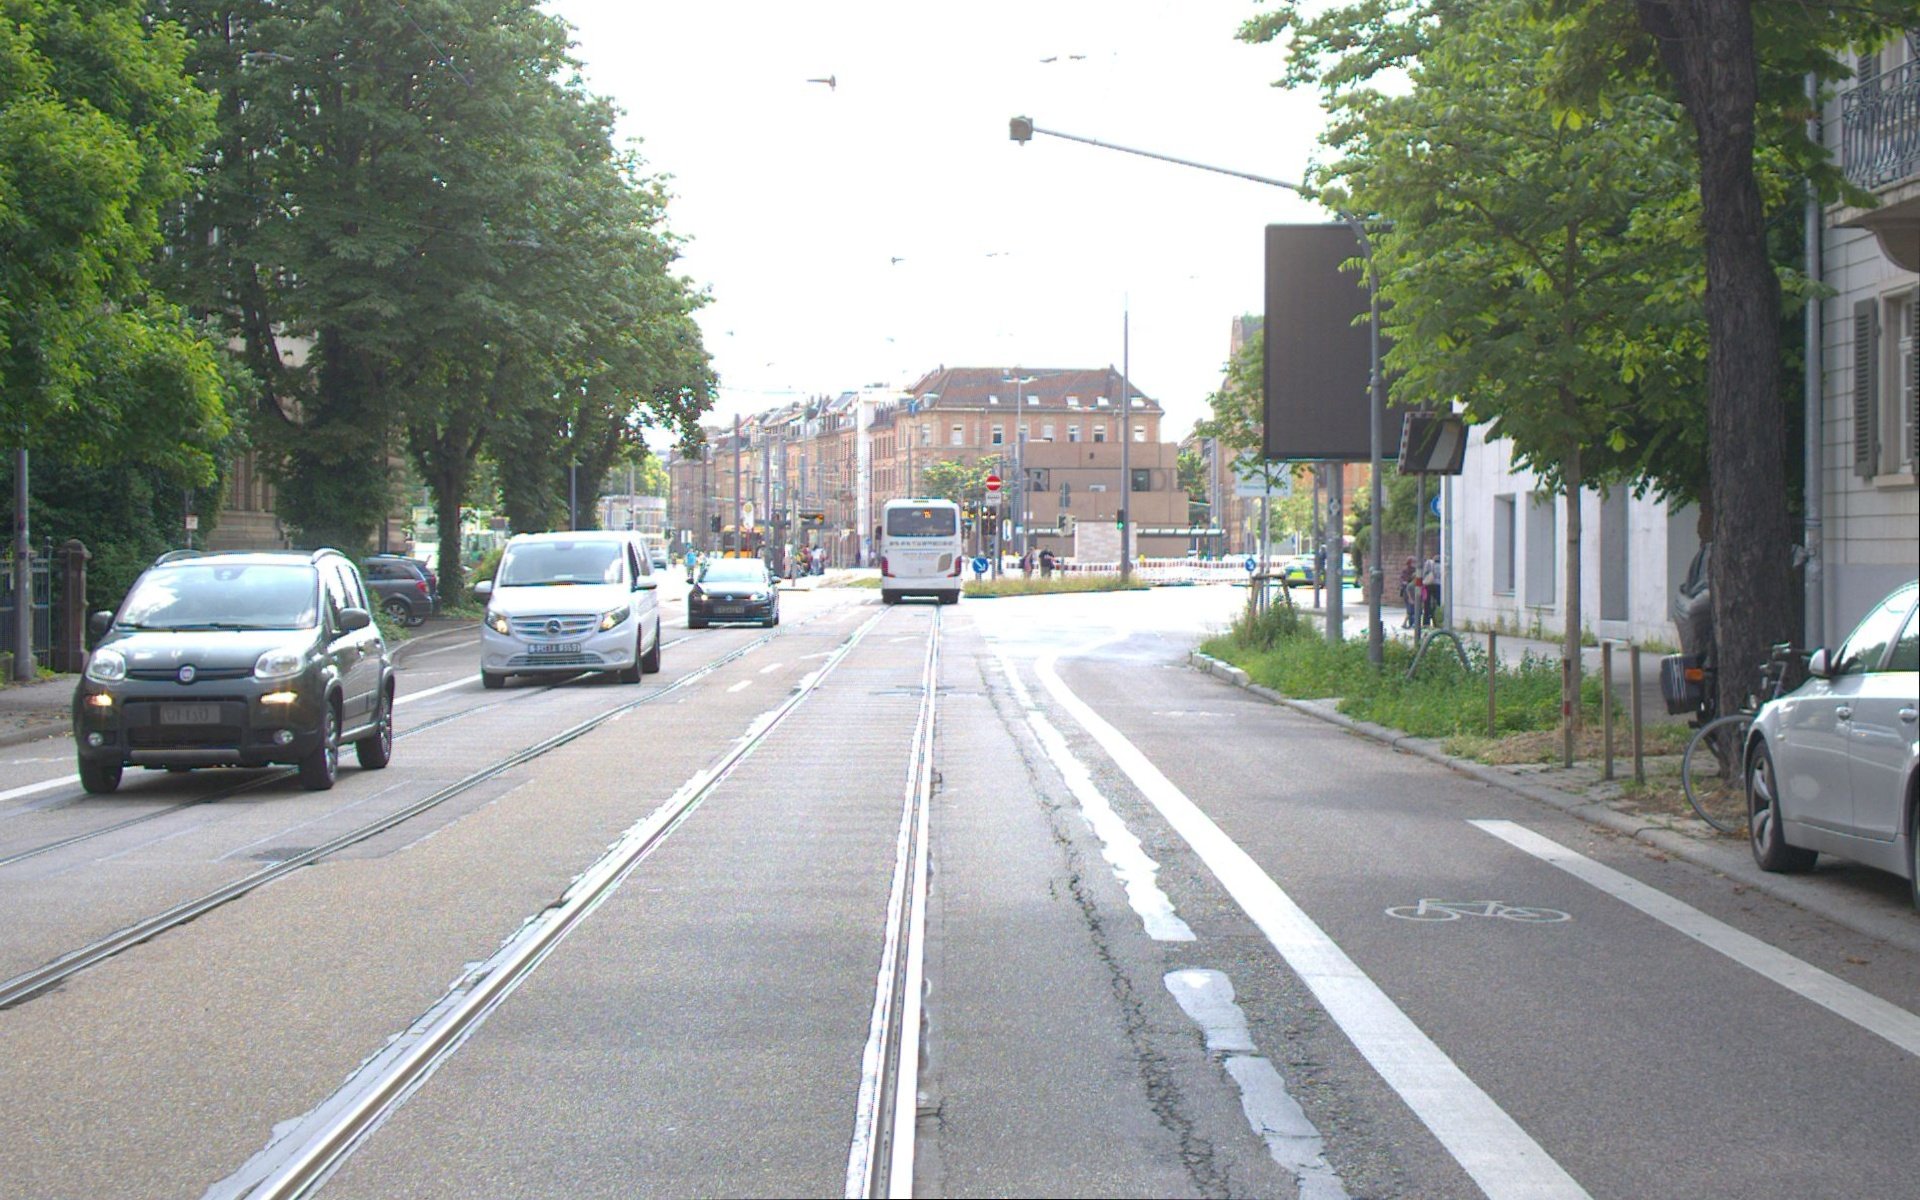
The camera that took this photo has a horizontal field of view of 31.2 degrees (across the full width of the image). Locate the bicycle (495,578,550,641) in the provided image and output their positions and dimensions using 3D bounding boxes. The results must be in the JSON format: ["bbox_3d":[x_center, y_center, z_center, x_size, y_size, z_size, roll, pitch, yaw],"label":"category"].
[{"bbox_3d":[-8.356,0.174,65.694,0.602,1.093,2.022,-5,1,2],"label":"bicycle"}]

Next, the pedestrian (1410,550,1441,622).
[{"bbox_3d":[10.327,-0.309,76.296,0.519,1.575,0.549,-2,2,-10],"label":"pedestrian"}]

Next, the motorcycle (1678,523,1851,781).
[{"bbox_3d":[5.060,0.297,21.767,0.981,1.536,2.439,0,1,11],"label":"motorcycle"}]

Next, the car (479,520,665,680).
[{"bbox_3d":[-4.871,-0.031,43.838,1.897,1.901,5.384,0,1,-2],"label":"car"}]

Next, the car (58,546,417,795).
[{"bbox_3d":[-4.833,0.419,23.472,1.631,1.551,3.822,0,1,0],"label":"car"}]

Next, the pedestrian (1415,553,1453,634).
[{"bbox_3d":[10.328,-0.139,74.861,0.684,1.718,0.747,-2,2,1],"label":"pedestrian"}]

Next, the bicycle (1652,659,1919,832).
[{"bbox_3d":[4.724,0.785,18.746,1.776,0.899,0.692,0,1,3],"label":"bicycle"}]

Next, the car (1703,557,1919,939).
[{"bbox_3d":[4.593,0.560,14.814,1.707,1.493,4.789,0,1,0],"label":"car"}]

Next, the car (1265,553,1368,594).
[{"bbox_3d":[15.294,-1.152,147.493,4.090,1.678,2.136,0,2,-42],"label":"car"}]

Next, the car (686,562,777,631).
[{"bbox_3d":[-4.814,-0.089,72.773,1.688,1.397,3.931,-1,1,-1],"label":"car"}]

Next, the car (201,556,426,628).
[{"bbox_3d":[-13.374,-0.191,71.151,4.227,1.442,1.794,0,1,-27],"label":"car"}]

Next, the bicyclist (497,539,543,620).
[{"bbox_3d":[-8.407,-0.399,65.711,0.599,1.487,0.882,-5,1,3],"label":"bicyclist"}]

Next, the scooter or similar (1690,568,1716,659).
[{"bbox_3d":[9.770,0.171,45.206,0.322,1.177,1.147,0,0,13],"label":"scooter or similar"}]

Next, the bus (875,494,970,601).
[{"bbox_3d":[-1.278,-1.667,113.790,2.917,3.317,12.206,1,0,-1],"label":"bus"}]
